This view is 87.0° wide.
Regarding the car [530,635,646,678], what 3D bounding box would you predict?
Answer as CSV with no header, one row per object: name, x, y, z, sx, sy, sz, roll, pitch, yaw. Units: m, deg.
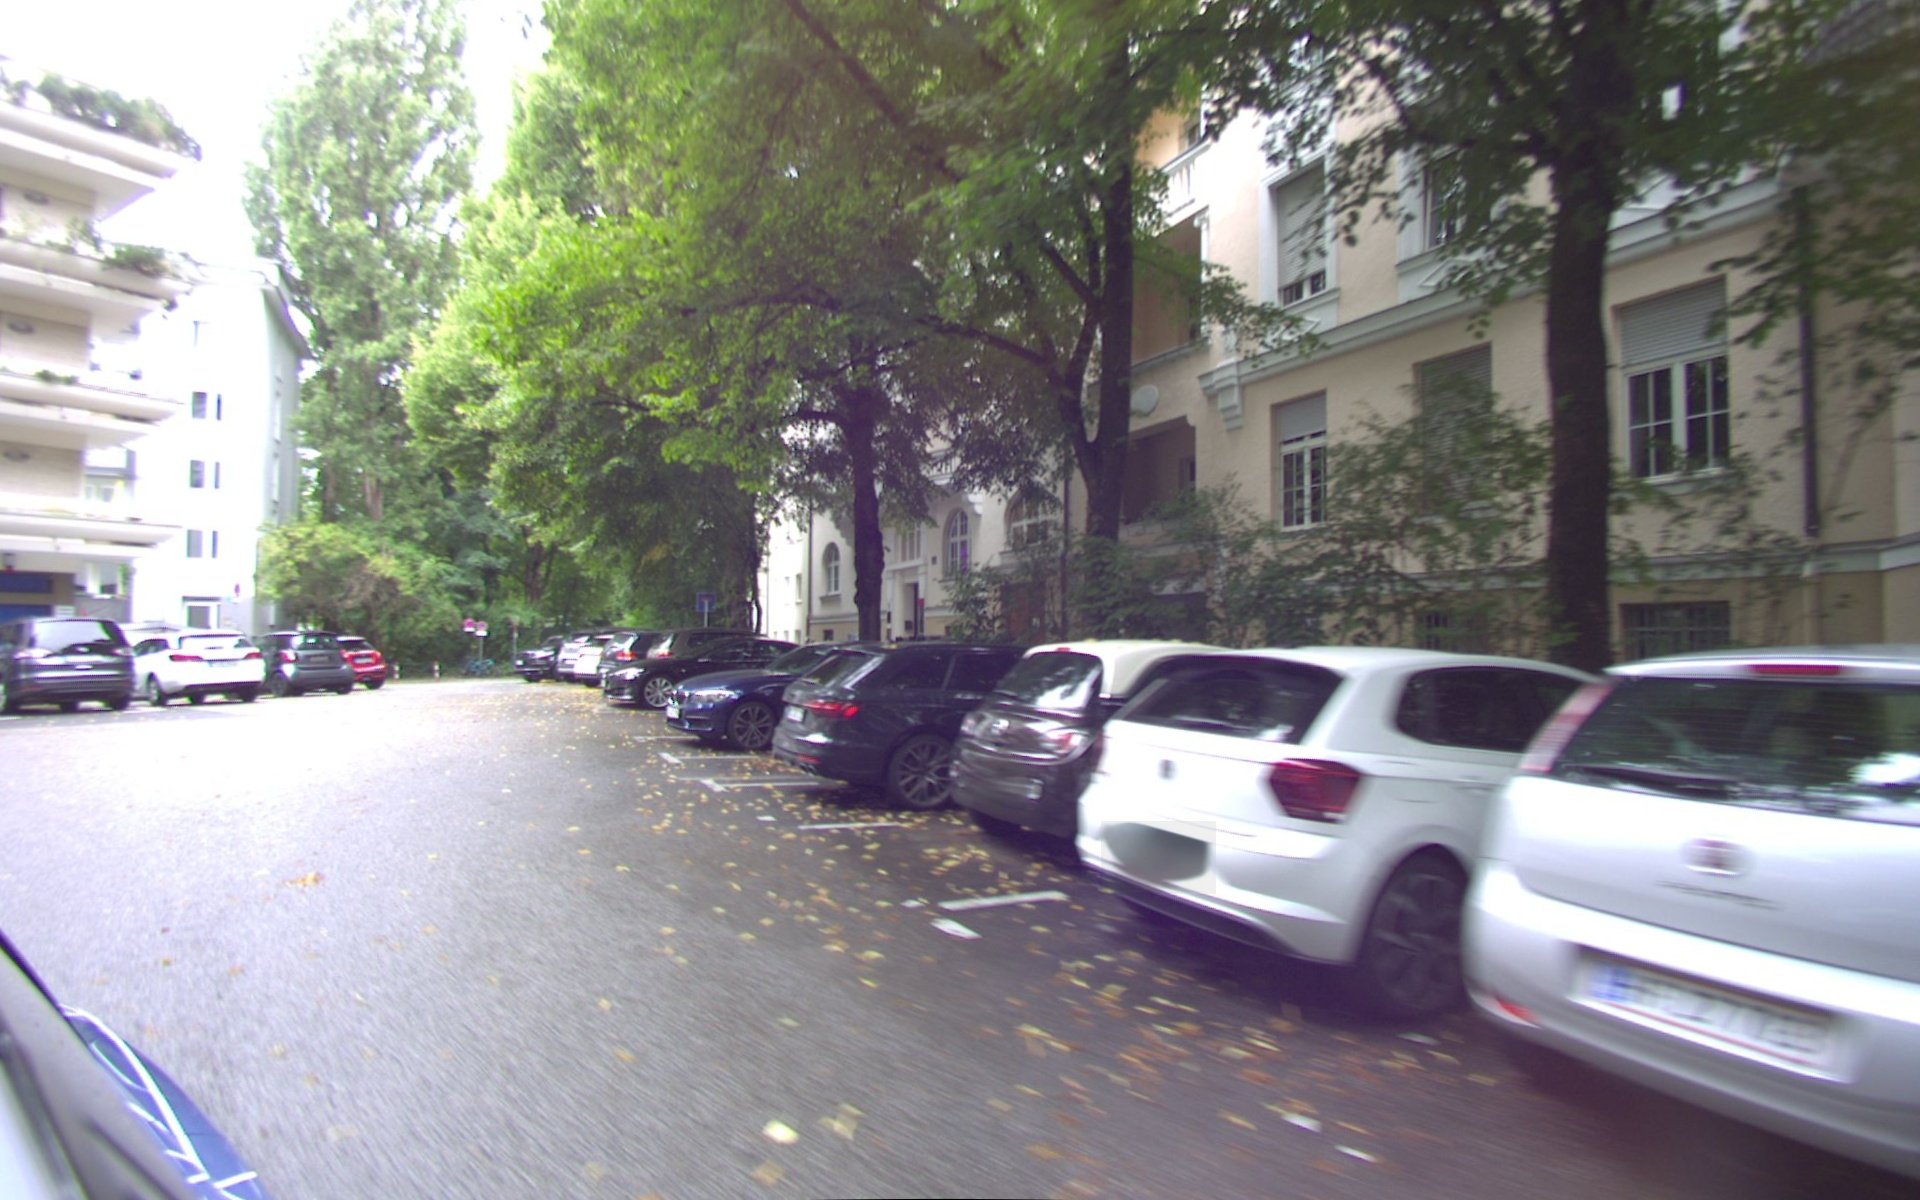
car,-13.572,2.034,37.182,1.714,1.489,3.967,-1,-2,24

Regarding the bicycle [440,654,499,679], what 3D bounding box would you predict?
bicycle,-22.912,3.111,47.348,2.427,1.127,0.828,1,-2,-24

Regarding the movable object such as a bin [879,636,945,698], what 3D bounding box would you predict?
movable object such as a bin,-1.125,1.532,23.548,1.137,1.359,1.157,1,-1,-31

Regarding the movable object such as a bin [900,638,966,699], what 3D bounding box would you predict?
movable object such as a bin,-0.626,1.567,23.434,1.349,1.358,0.717,1,-2,-29

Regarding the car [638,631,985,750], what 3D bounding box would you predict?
car,-1.950,1.175,13.774,4.269,1.394,1.850,3,-3,-32

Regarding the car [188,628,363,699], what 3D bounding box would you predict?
car,-16.425,1.542,24.273,3.980,1.491,1.818,-4,-4,27

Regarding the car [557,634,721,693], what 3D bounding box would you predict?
car,-8.534,1.645,27.203,1.721,1.442,3.951,-1,-2,36

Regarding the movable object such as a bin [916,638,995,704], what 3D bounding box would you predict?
movable object such as a bin,-0.096,1.466,21.282,1.408,1.315,0.868,1,0,-30

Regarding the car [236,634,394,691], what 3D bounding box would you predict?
car,-17.440,1.645,27.357,3.977,1.409,1.741,-1,-2,25

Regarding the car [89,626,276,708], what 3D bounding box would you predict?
car,-16.061,1.413,20.885,3.987,1.491,1.815,-5,-5,32

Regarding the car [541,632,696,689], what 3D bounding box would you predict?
car,-9.931,1.713,29.681,1.871,1.521,3.951,-1,-2,36

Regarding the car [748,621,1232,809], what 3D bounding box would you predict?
car,0.294,1.042,9.490,4.091,1.436,1.870,4,-4,-24

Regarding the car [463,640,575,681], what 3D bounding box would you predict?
car,-17.403,2.347,40.128,1.714,1.489,3.967,-1,-2,24

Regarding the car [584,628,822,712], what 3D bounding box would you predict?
car,-5.041,1.386,19.945,4.214,1.478,1.715,3,-2,-26

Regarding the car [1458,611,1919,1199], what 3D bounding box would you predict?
car,3.403,0.827,3.016,3.492,1.443,1.649,3,-3,-26

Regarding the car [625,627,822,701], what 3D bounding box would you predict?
car,-5.342,1.415,23.017,3.957,1.542,1.849,2,-2,-34

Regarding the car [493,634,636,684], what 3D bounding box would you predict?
car,-12.106,1.771,31.252,2.047,1.412,3.974,0,-2,19

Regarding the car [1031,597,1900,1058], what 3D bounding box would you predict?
car,2.667,0.960,5.158,4.212,1.525,1.809,6,-5,-28

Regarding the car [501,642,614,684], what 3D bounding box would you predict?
car,-15.335,2.376,38.782,1.714,1.489,3.967,-1,-2,24

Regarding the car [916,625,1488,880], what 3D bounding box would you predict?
car,1.774,1.047,7.361,3.685,1.436,1.839,5,-5,-26

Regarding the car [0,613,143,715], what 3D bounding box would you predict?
car,-17.182,1.224,18.786,4.220,1.697,1.881,-4,-4,32

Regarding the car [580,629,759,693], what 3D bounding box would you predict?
car,-7.132,1.462,25.144,1.796,1.442,3.946,-1,-2,40
